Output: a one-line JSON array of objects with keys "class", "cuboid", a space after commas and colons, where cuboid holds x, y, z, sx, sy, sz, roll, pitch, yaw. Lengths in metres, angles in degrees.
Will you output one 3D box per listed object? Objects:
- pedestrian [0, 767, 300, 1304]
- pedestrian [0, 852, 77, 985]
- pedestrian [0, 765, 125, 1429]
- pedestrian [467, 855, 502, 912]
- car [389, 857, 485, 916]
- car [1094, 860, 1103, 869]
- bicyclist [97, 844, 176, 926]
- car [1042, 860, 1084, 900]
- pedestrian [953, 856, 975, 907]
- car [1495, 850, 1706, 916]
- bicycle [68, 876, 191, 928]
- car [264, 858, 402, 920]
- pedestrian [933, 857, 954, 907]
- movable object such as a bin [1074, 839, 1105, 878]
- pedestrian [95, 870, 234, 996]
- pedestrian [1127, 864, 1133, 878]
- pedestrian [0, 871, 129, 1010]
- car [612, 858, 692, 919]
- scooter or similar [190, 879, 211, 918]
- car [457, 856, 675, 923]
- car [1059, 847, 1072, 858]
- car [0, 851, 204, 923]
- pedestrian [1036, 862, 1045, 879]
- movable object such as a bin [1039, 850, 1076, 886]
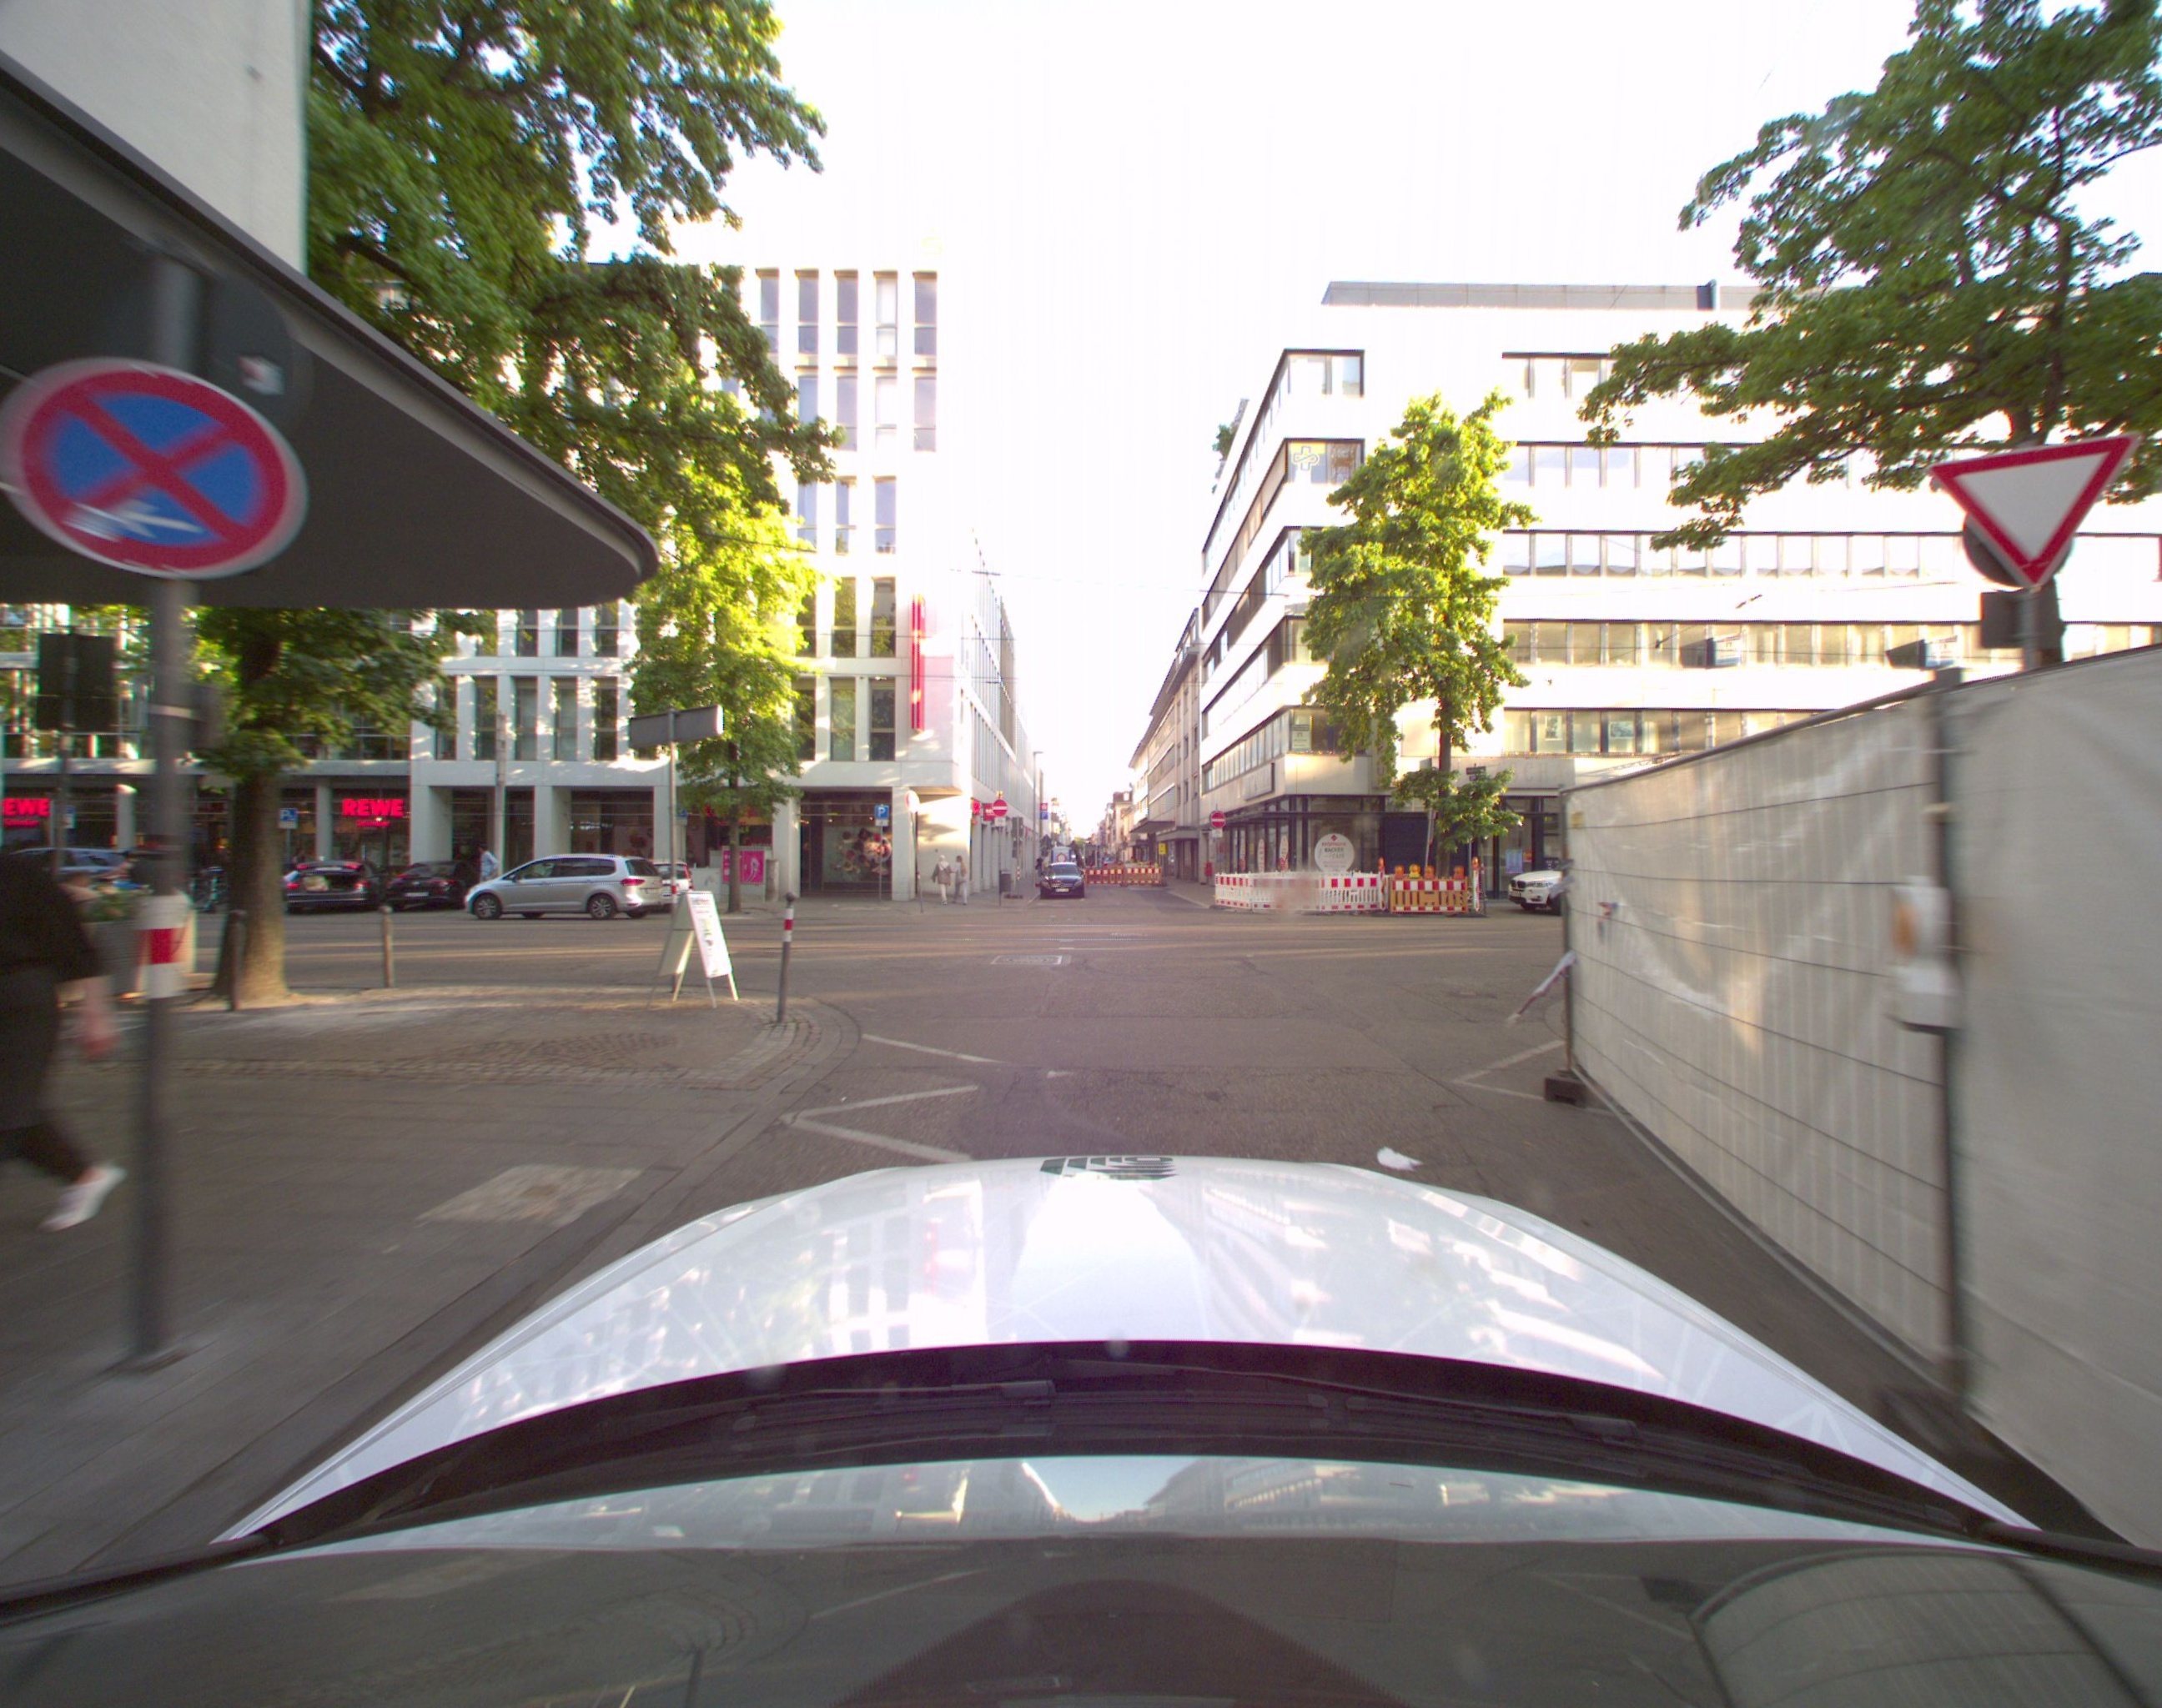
[{"class": "pedestrian", "cuboid": [-3.663, 0.558, 2.936, 0.796, 1.668, 0.899, 2, -1, -10]}, {"class": "pedestrian", "cuboid": [-11.554, 0.669, 8.686, 0.710, 1.358, 0.730, 2, 0, -4]}, {"class": "pedestrian", "cuboid": [-3.056, 0.606, 2.018, 0.688, 1.668, 0.502, 2, -1, -24]}, {"class": "pedestrian", "cuboid": [-17.367, 0.849, 23.720, 0.642, 1.627, 0.638, 0, 0, -21]}, {"class": "car", "cuboid": [-19.612, 0.926, 24.951, 1.594, 1.505, 3.561, 0, 2, -27]}, {"class": "car", "cuboid": [3.706, 2.204, 172.974, 1.987, 1.776, 3.999, -1, 0, 0]}, {"class": "bicyclist", "cuboid": [-21.647, 0.699, 18.675, 0.985, 1.855, 0.654, 0, -1, -3]}, {"class": "car", "cuboid": [-0.791, 1.059, 33.851, 1.626, 1.550, 3.138, -1, 0, -3]}, {"class": "pedestrian", "cuboid": [-3.891, 0.899, 27.075, 0.610, 1.627, 0.869, -1, -1, -14]}, {"class": "car", "cuboid": [15.115, 0.803, 23.897, 4.915, 1.775, 2.022, 0, 2, -1]}, {"class": "bicycle", "cuboid": [-21.695, 1.096, 18.597, 2.046, 1.151, 0.511, 0, 0, -4]}, {"class": "car", "cuboid": [-21.794, 0.948, 23.937, 1.955, 1.505, 3.963, -1, 2, -27]}, {"class": "pedestrian", "cuboid": [-4.537, 0.912, 26.815, 0.610, 1.627, 0.869, -1, -1, -14]}, {"class": "movable object such as a bin", "cuboid": [0.574, 0.326, 59.021, 2.150, 2.664, 4.571, 0, -1, 0]}, {"class": "pedestrian", "cuboid": [-10.489, 0.883, 9.350, 0.710, 1.358, 0.730, 2, 0, -4]}, {"class": "pedestrian", "cuboid": [5.178, 1.827, 85.689, 0.521, 1.464, 0.720, 0, -1, 8]}, {"class": "pedestrian", "cuboid": [-10.520, 0.857, 8.304, 0.727, 1.328, 0.713, 2, 0, -4]}, {"class": "car", "cuboid": [-12.760, 0.940, 24.343, 1.955, 1.505, 3.963, -1, 2, -27]}, {"class": "scooter or similar", "cuboid": [-26.002, 1.290, 24.057, 1.783, 1.071, 0.392, 0, -1, 44]}, {"class": "car", "cuboid": [-12.834, 0.885, 20.489, 4.256, 1.593, 1.828, 0, -2, 0]}, {"class": "car", "cuboid": [-2.462, -0.225, 128.579, 1.987, 1.776, 3.999, -1, 0, 0]}, {"class": "car", "cuboid": [-25.358, 0.825, 20.502, 4.261, 1.738, 1.866, 0, -2, -4]}, {"class": "pedestrian", "cuboid": [-3.402, 1.391, 68.969, 0.713, 1.464, 0.526, -1, -1, 2]}, {"class": "movable object such as a bin", "cuboid": [-1.374, 0.830, 49.068, 1.987, 2.014, 4.000, -1, 0, 0]}]
